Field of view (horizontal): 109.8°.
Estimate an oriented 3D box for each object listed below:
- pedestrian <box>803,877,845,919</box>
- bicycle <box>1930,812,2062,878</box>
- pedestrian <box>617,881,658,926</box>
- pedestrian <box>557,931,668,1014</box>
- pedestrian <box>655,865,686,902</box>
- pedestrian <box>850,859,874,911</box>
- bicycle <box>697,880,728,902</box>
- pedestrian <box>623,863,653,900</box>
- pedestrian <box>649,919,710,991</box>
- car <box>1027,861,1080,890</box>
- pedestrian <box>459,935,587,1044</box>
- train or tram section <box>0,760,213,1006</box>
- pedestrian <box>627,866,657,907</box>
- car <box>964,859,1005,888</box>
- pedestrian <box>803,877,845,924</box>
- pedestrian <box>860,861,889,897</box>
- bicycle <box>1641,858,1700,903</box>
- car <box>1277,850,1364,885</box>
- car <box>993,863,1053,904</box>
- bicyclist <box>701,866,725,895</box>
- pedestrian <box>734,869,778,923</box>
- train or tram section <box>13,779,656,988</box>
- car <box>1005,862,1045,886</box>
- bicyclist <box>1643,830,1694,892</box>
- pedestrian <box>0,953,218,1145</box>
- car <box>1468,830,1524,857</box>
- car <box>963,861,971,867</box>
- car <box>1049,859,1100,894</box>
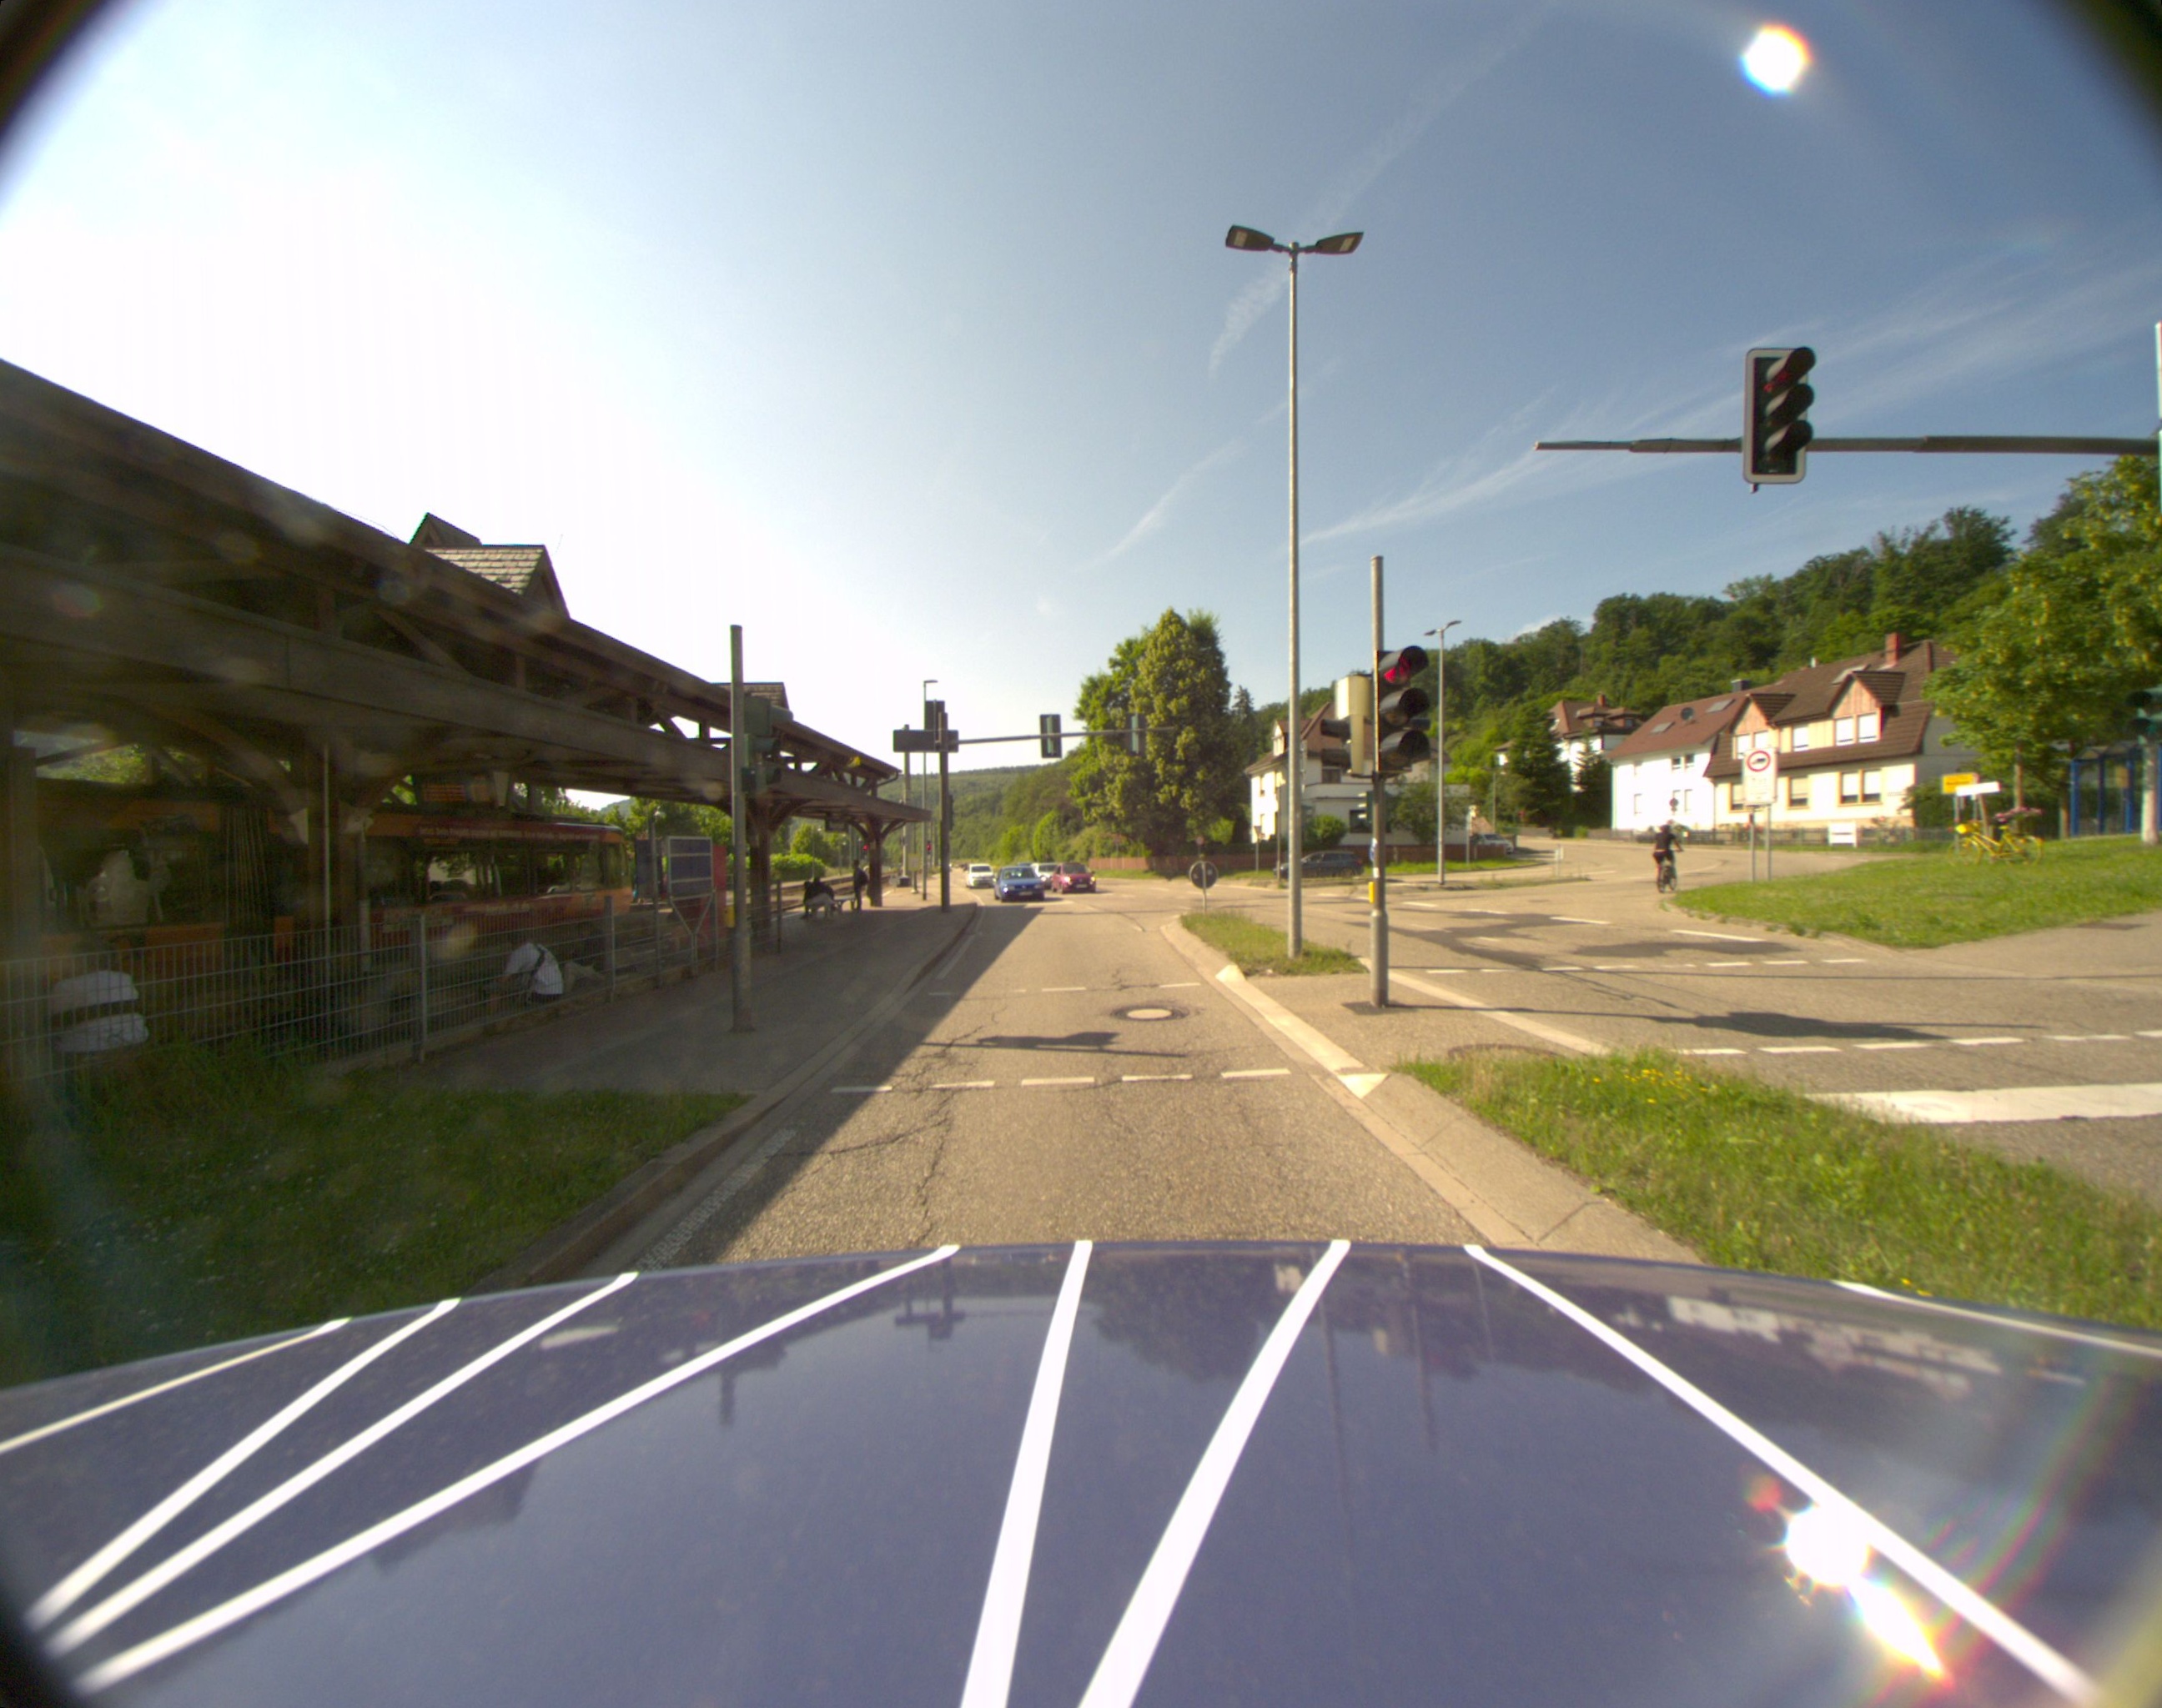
[{"bbox_3d":[-7.651,1.300,22.655,1.010,1.153,0.948,-2,0,-10],"label":"pedestrian"},{"bbox_3d":[19.388,-0.159,16.172,0.620,1.247,1.758,-6,-3,5],"label":"bicycle"},{"bbox_3d":[-18.420,2.037,31.566,0.989,1.831,1.074,-2,-1,3],"label":"pedestrian"},{"bbox_3d":[-5.796,1.446,9.451,0.847,0.869,0.808,-3,-1,-4],"label":"pedestrian"},{"bbox_3d":[-19.344,1.389,35.799,0.901,1.674,0.824,-4,-1,30],"label":"pedestrian"},{"bbox_3d":[-7.306,1.018,25.331,0.659,1.682,0.738,-1,0,-10],"label":"pedestrian"},{"bbox_3d":[-22.198,2.215,45.827,0.873,1.246,2.294,-3,-1,-7],"label":"bicycle"},{"bbox_3d":[-20.746,1.284,35.606,0.867,1.674,0.822,-3,-1,-3],"label":"pedestrian"},{"bbox_3d":[-5.789,1.444,10.959,0.619,0.960,0.406,-3,-1,-4],"label":"pedestrian"},{"bbox_3d":[-1.631,1.214,42.879,1.981,1.495,4.746,-3,-1,-14],"label":"car"},{"bbox_3d":[-5.823,1.389,7.974,0.744,0.976,0.769,-3,-1,-4],"label":"pedestrian"},{"bbox_3d":[-16.049,0.486,6.710,2.793,3.344,12.046,-3,0,0],"label":"train or tram section"},{"bbox_3d":[-18.906,1.382,32.718,0.904,1.674,0.821,-3,-1,-20],"label":"pedestrian"},{"bbox_3d":[-6.050,1.207,47.460,2.001,1.575,3.996,-3,0,-14],"label":"car"},{"bbox_3d":[-7.265,1.302,21.505,0.994,1.228,0.596,-3,-1,-10],"label":"pedestrian"},{"bbox_3d":[-10.207,1.253,37.595,0.918,1.726,1.248,-3,-1,-37],"label":"pedestrian"},{"bbox_3d":[16.785,0.735,21.625,2.003,1.155,0.733,-3,-1,-36],"label":"bicycle"},{"bbox_3d":[12.036,0.668,38.187,3.992,1.499,2.003,-4,-1,18],"label":"car"},{"bbox_3d":[-2.440,1.151,31.097,1.867,1.474,4.297,-1,0,-12],"label":"car"},{"bbox_3d":[-22.237,1.600,45.898,1.010,1.716,0.865,-3,-1,-7],"label":"bicyclist"},{"bbox_3d":[-9.440,1.207,22.102,0.863,1.538,0.922,-1,-1,-2],"label":"pedestrian"},{"bbox_3d":[-16.337,0.500,19.746,2.863,3.345,14.351,-2,0,-2],"label":"train or tram section"},{"bbox_3d":[-3.847,1.366,51.575,1.981,1.495,3.983,-3,-1,-14],"label":"car"},{"bbox_3d":[16.674,0.205,21.564,0.995,1.681,0.805,-3,-1,-36],"label":"bicyclist"},{"bbox_3d":[-6.669,1.288,5.184,0.744,1.109,0.667,-3,-1,-4],"label":"pedestrian"},{"bbox_3d":[29.033,-0.703,53.319,1.938,1.627,4.002,-3,-1,5],"label":"car"},{"bbox_3d":[-36.743,3.339,245.091,2.001,1.673,3.996,-3,-1,-16],"label":"car"},{"bbox_3d":[-0.375,1.070,36.805,1.663,1.525,3.951,-2,-1,-12],"label":"car"}]
